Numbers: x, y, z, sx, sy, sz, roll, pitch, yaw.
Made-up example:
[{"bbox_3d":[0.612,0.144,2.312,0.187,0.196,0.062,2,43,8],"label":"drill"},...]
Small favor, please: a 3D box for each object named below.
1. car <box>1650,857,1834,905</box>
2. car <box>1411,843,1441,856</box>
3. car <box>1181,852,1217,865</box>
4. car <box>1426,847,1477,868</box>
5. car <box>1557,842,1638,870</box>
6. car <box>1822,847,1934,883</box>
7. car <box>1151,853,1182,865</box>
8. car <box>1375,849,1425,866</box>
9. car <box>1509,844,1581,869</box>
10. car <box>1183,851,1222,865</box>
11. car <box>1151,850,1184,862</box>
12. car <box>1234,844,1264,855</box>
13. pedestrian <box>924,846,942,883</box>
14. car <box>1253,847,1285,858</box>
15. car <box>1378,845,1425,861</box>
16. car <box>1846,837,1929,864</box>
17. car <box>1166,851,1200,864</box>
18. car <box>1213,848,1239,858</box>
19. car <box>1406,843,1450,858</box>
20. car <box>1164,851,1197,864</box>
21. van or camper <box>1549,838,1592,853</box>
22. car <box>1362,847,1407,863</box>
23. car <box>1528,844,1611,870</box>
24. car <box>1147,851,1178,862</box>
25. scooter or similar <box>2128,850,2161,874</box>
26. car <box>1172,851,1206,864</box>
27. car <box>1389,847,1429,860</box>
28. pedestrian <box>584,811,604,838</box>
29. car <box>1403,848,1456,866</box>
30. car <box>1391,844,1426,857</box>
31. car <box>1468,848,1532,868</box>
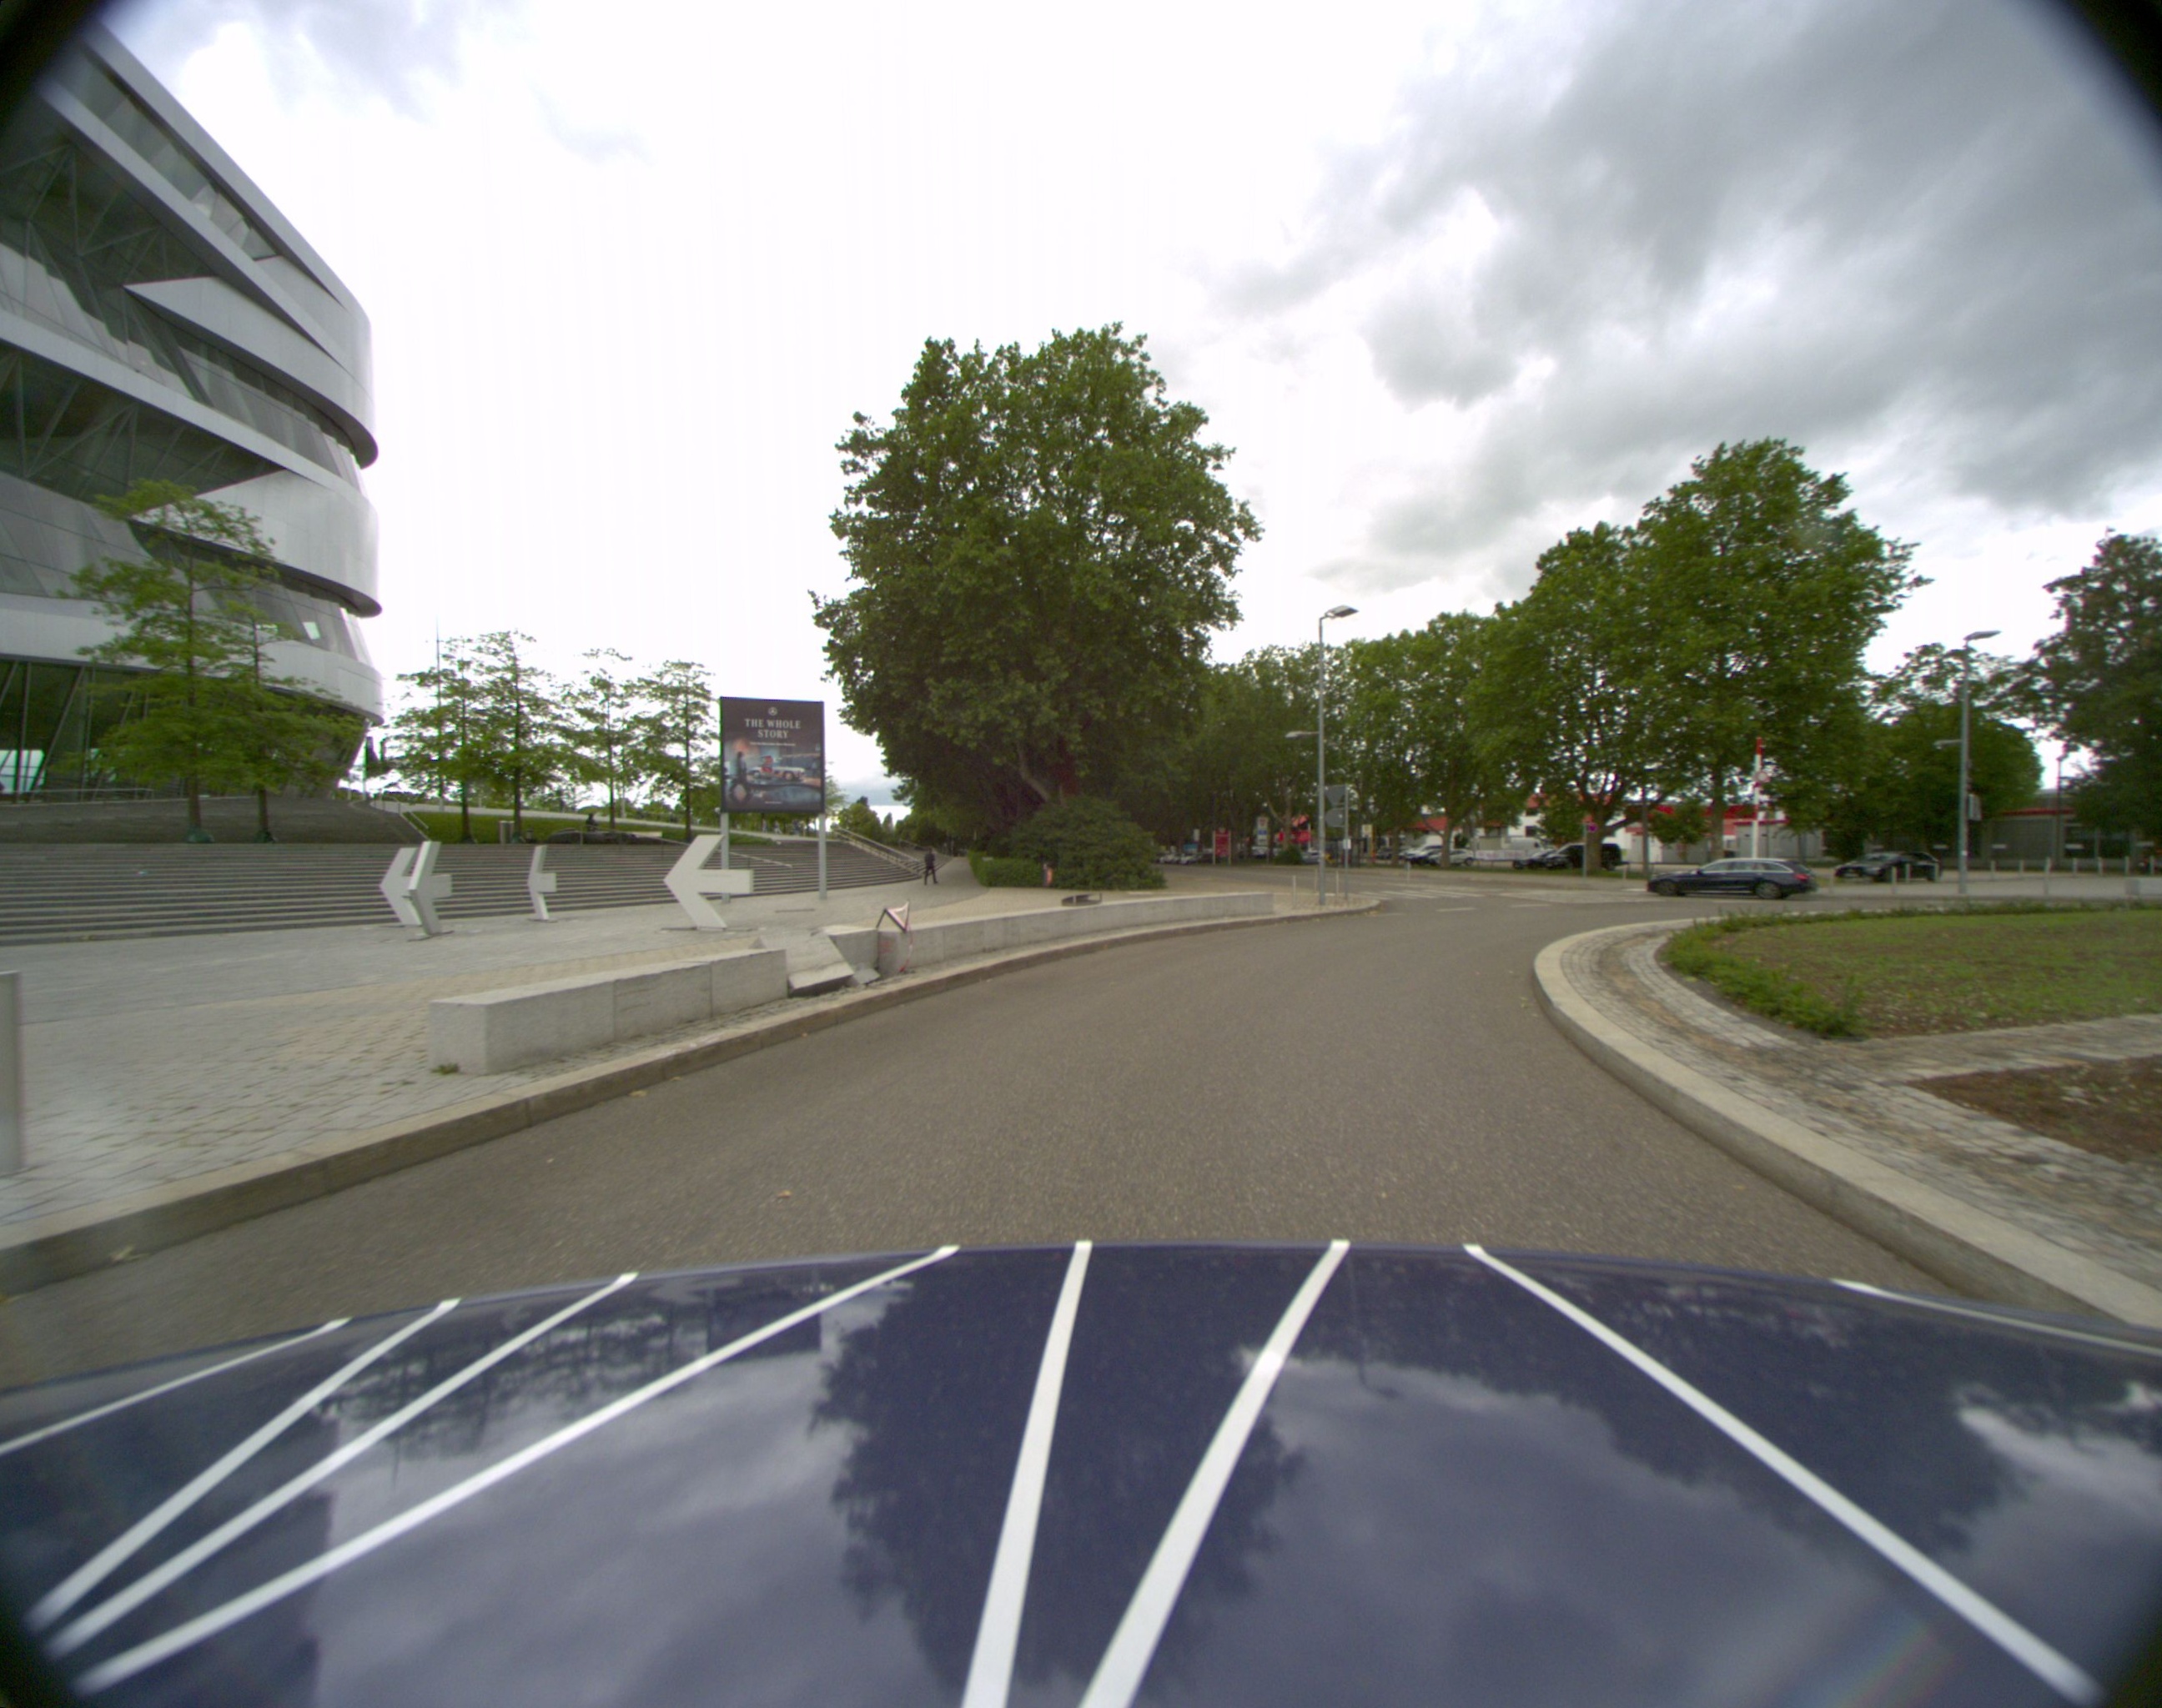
[{"bbox_3d":[23.629,0.927,27.332,1.800,1.555,4.715,-1,0,-38],"label":"car"},{"bbox_3d":[47.274,-0.543,104.238,1.797,1.710,3.952,-1,0,-11],"label":"car"},{"bbox_3d":[13.914,0.525,89.726,4.005,1.509,1.871,-1,0,-2],"label":"car"},{"bbox_3d":[33.013,0.330,67.711,3.709,1.767,1.670,-1,0,-2],"label":"car"},{"bbox_3d":[34.263,0.117,50.462,4.292,1.718,2.010,-1,0,-11],"label":"car"},{"bbox_3d":[37.183,0.499,35.480,3.826,1.516,1.778,-1,0,-10],"label":"car"},{"bbox_3d":[11.413,0.625,101.598,4.005,1.509,1.871,-1,0,-2],"label":"car"},{"bbox_3d":[30.880,0.352,73.608,4.005,1.509,1.871,-1,0,-2],"label":"car"},{"bbox_3d":[34.114,0.203,55.920,4.292,1.718,2.010,-1,0,-11],"label":"car"},{"bbox_3d":[13.970,0.494,87.468,4.174,1.509,1.871,-1,0,-2],"label":"car"},{"bbox_3d":[12.496,0.277,110.271,4.436,1.642,1.795,-1,0,-6],"label":"car"},{"bbox_3d":[25.319,-0.662,114.722,4.004,1.509,1.872,-1,0,0],"label":"car"},{"bbox_3d":[-7.017,0.501,36.040,0.553,1.751,0.596,-1,1,36],"label":"pedestrian"},{"bbox_3d":[26.714,-0.259,108.113,4.004,1.509,1.872,-1,0,0],"label":"car"},{"bbox_3d":[32.471,-0.067,77.072,4.005,1.509,1.871,-1,0,-2],"label":"car"},{"bbox_3d":[51.512,-0.206,48.670,1.793,1.642,4.443,-1,0,19],"label":"car"},{"bbox_3d":[13.037,0.427,97.353,4.005,1.509,1.871,-1,0,-2],"label":"car"},{"bbox_3d":[24.056,-0.174,126.204,4.005,1.509,1.871,-1,0,-2],"label":"car"},{"bbox_3d":[40.557,-0.422,88.833,4.438,1.642,1.795,-1,0,-12],"label":"car"},{"bbox_3d":[13.002,0.451,99.812,4.005,1.509,1.871,-1,0,-2],"label":"car"},{"bbox_3d":[60.284,-1.029,93.662,1.797,1.778,4.432,-1,0,-11],"label":"van or camper"},{"bbox_3d":[32.090,0.104,80.478,4.005,1.509,1.871,-1,0,-2],"label":"car"},{"bbox_3d":[34.215,0.194,53.227,4.813,1.718,2.010,-1,0,-10],"label":"car"},{"bbox_3d":[11.173,0.348,104.322,4.005,1.509,1.871,-1,0,-2],"label":"car"},{"bbox_3d":[50.339,0.387,35.755,1.810,1.088,0.545,-1,0,-12],"label":"scooter or similar"},{"bbox_3d":[13.441,0.395,94.813,4.005,1.509,1.871,-1,0,-2],"label":"car"},{"bbox_3d":[39.767,-0.050,92.119,4.008,1.509,1.870,-1,0,-10],"label":"car"},{"bbox_3d":[-25.308,-1.514,39.494,0.793,1.379,0.681,-2,0,-39],"label":"pedestrian"},{"bbox_3d":[32.174,0.269,70.257,4.005,1.509,1.871,-1,0,-2],"label":"car"},{"bbox_3d":[43.651,-0.478,101.325,3.957,1.642,1.795,-1,0,-11],"label":"car"},{"bbox_3d":[33.332,0.332,60.493,4.005,1.509,1.871,-1,0,-2],"label":"car"}]
